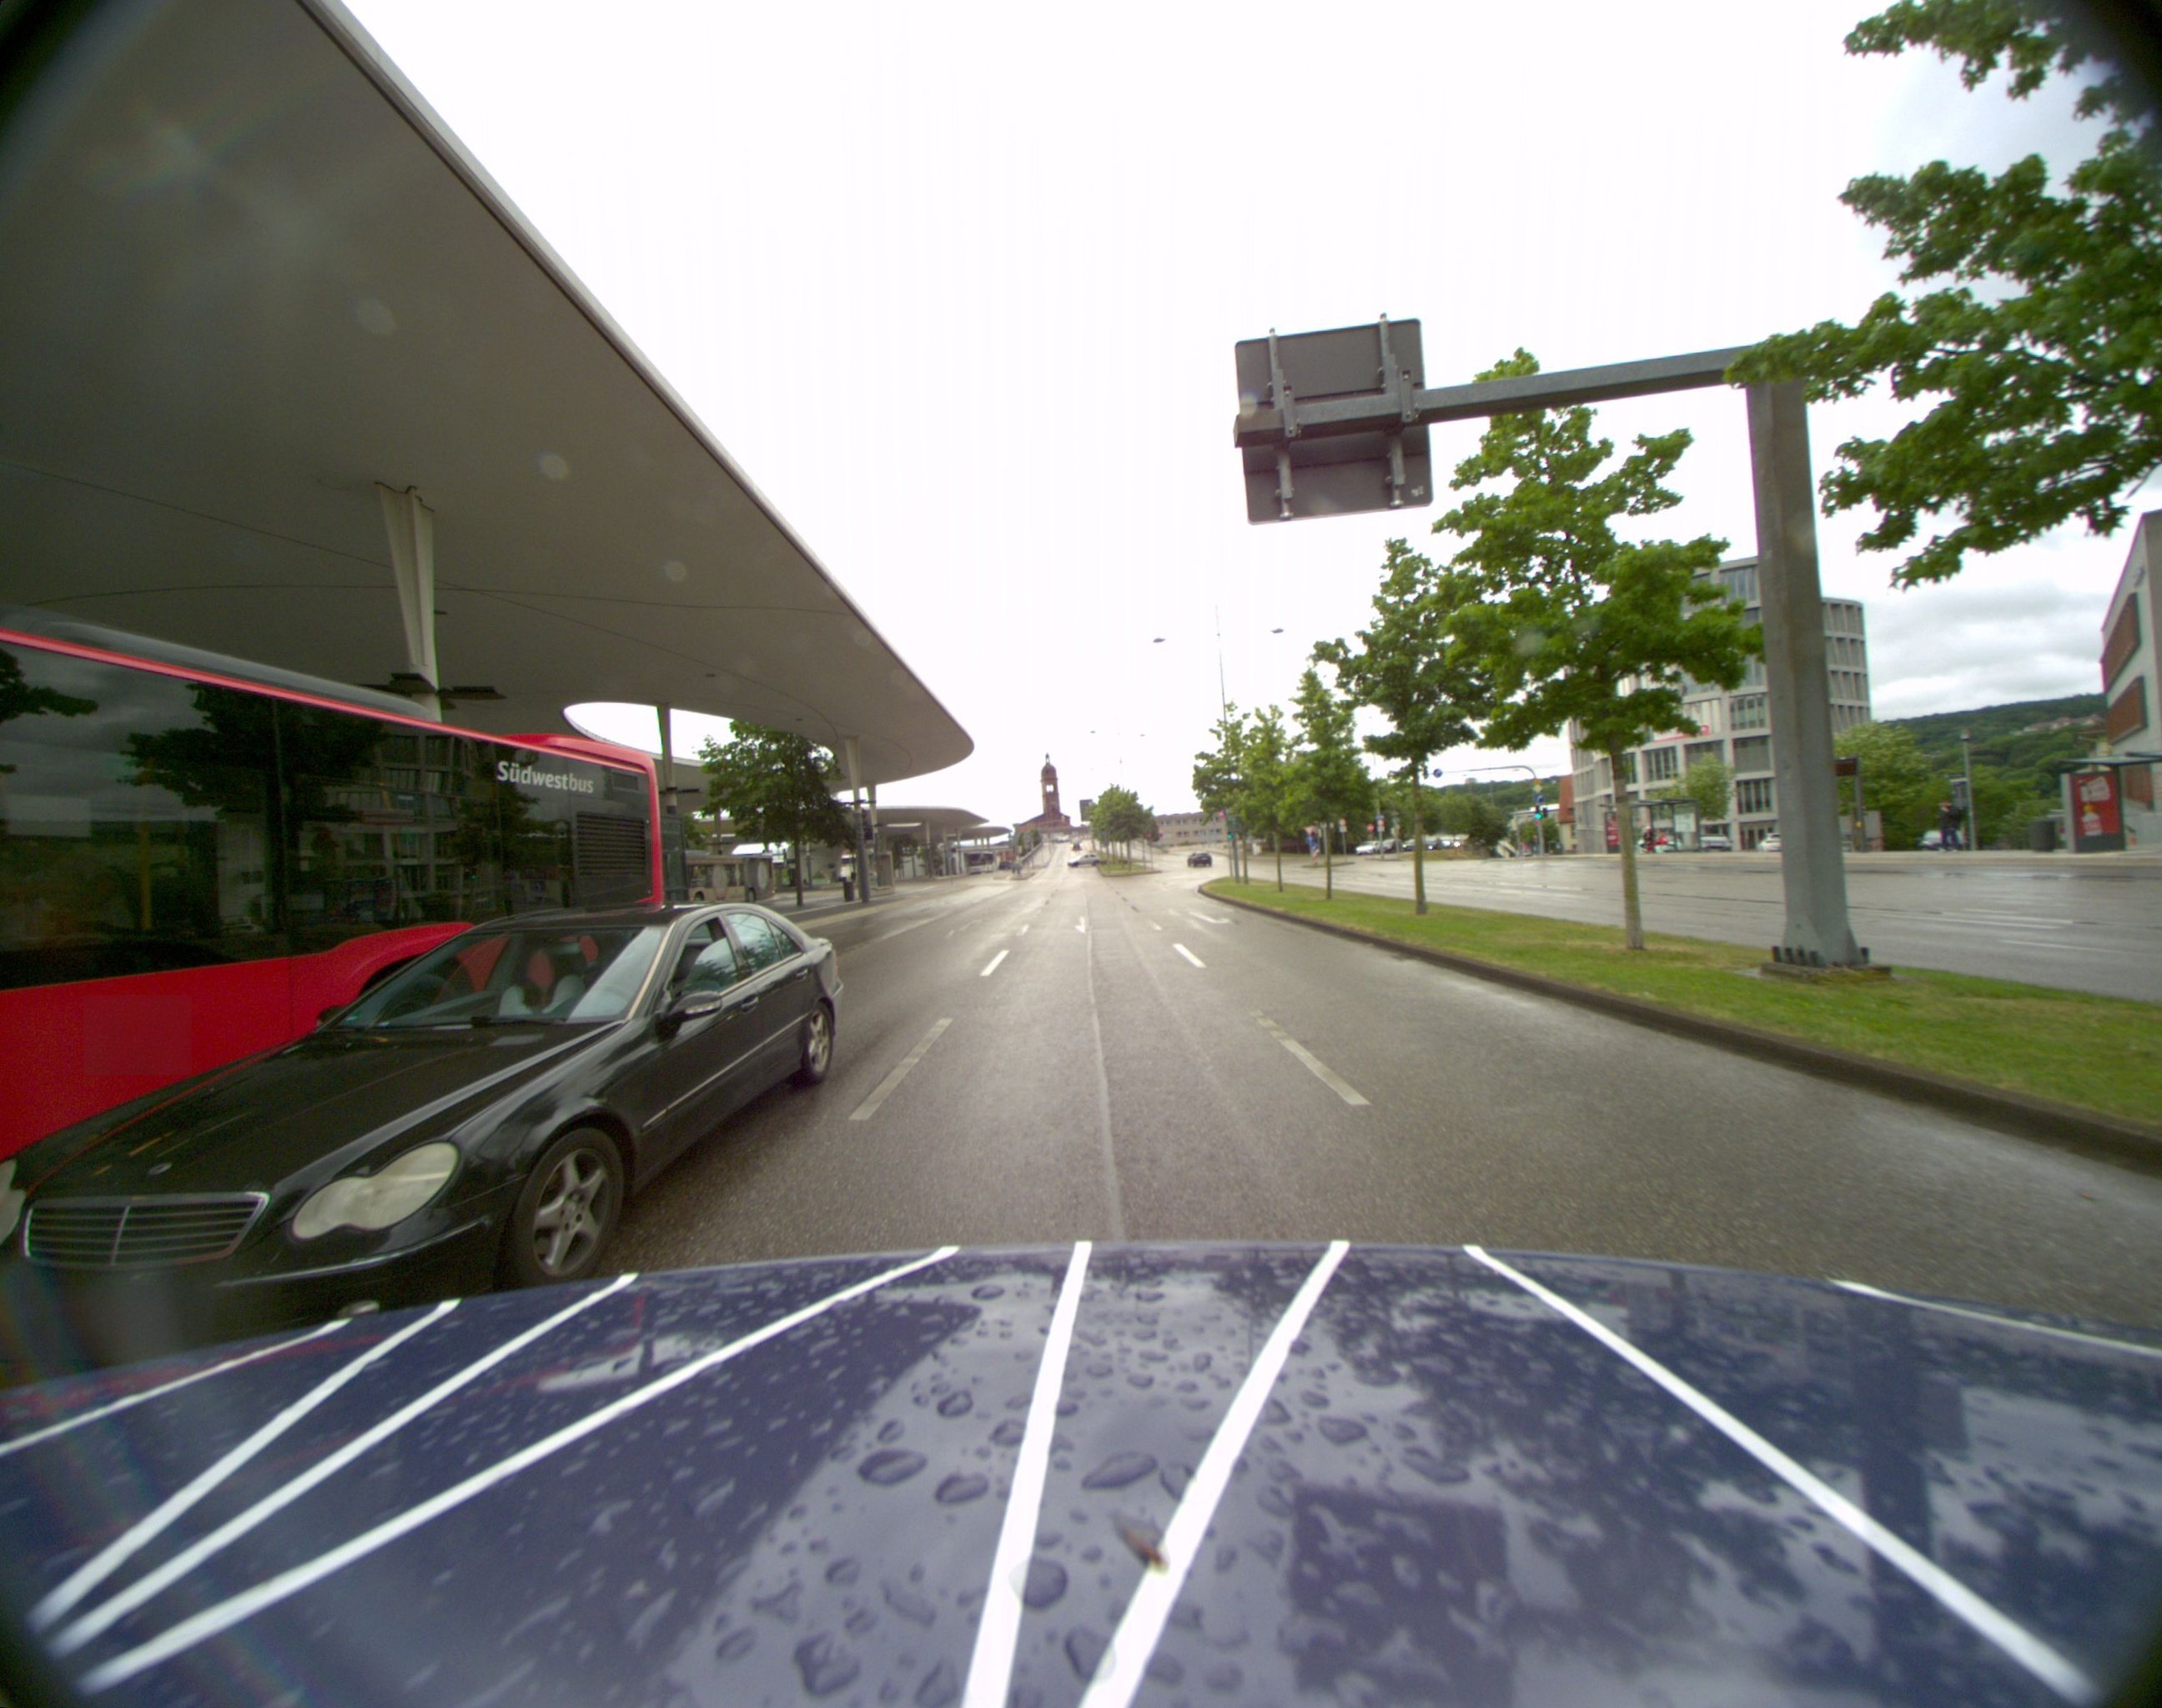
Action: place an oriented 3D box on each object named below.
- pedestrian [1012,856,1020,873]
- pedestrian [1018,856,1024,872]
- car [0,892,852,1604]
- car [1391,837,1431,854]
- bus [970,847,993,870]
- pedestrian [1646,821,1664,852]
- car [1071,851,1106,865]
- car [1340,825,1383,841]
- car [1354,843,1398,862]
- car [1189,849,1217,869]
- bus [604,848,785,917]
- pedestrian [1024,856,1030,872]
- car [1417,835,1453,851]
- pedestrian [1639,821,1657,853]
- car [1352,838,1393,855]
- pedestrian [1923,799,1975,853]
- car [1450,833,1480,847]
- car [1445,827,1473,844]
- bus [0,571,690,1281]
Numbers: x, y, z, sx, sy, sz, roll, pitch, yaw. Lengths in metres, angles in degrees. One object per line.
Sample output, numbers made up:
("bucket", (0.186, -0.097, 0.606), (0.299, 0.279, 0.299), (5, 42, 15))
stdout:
("pedestrian", (-6.538, 1.061, 76.454), (0.576, 1.614, 0.588), (-3, 1, 1))
("pedestrian", (-6.037, 1.024, 76.419), (0.557, 1.614, 0.552), (-3, 1, 1))
("car", (-2.782, 1.110, 4.075), (1.750, 1.471, 4.434), (-3, 0, -1))
("car", (36.628, -0.951, 84.215), (4.925, 1.702, 2.190), (-3, 0, -43))
("bus", (-14.408, 0.690, 110.692), (2.675, 3.111, 9.713), (-3, 0, -5))
("pedestrian", (30.011, -0.917, 39.715), (0.520, 1.625, 0.536), (-2, 1, 1))
("car", (0.869, 0.496, 87.966), (3.737, 1.450, 1.626), (-3, 0, -14))
("car", (39.108, -2.885, 105.963), (2.315, 2.002, 5.021), (-3, 0, -41))
("car", (30.646, -0.170, 78.818), (4.925, 1.702, 2.190), (-3, 0, -43))
("car", (11.883, 0.457, 74.113), (1.998, 1.765, 4.000), (-3, 0, 1))
("bus", (-19.805, 1.269, 40.349), (3.003, 3.088, 12.355), (-1, 0, 1))
("pedestrian", (-5.413, 1.000, 76.316), (0.557, 1.614, 0.552), (-3, 1, 1))
("car", (42.182, -1.335, 90.465), (4.926, 1.702, 2.190), (-3, 0, -43))
("pedestrian", (29.462, -0.893, 39.480), (0.504, 1.625, 0.502), (-2, 1, 1))
("car", (32.220, -0.824, 83.796), (4.925, 1.702, 2.190), (-3, 0, -42))
("pedestrian", (29.294, -0.947, 25.638), (0.787, 1.750, 0.972), (-3, 1, -28))
("car", (51.000, -1.778, 100.995), (2.193, 1.702, 4.920), (-3, 0, 11))
("car", (47.365, -2.339, 95.257), (1.994, 2.001, 4.008), (-2, -1, 44))
("bus", (-6.169, 0.360, 5.027), (2.750, 3.155, 8.120), (-3, 0, 1))
